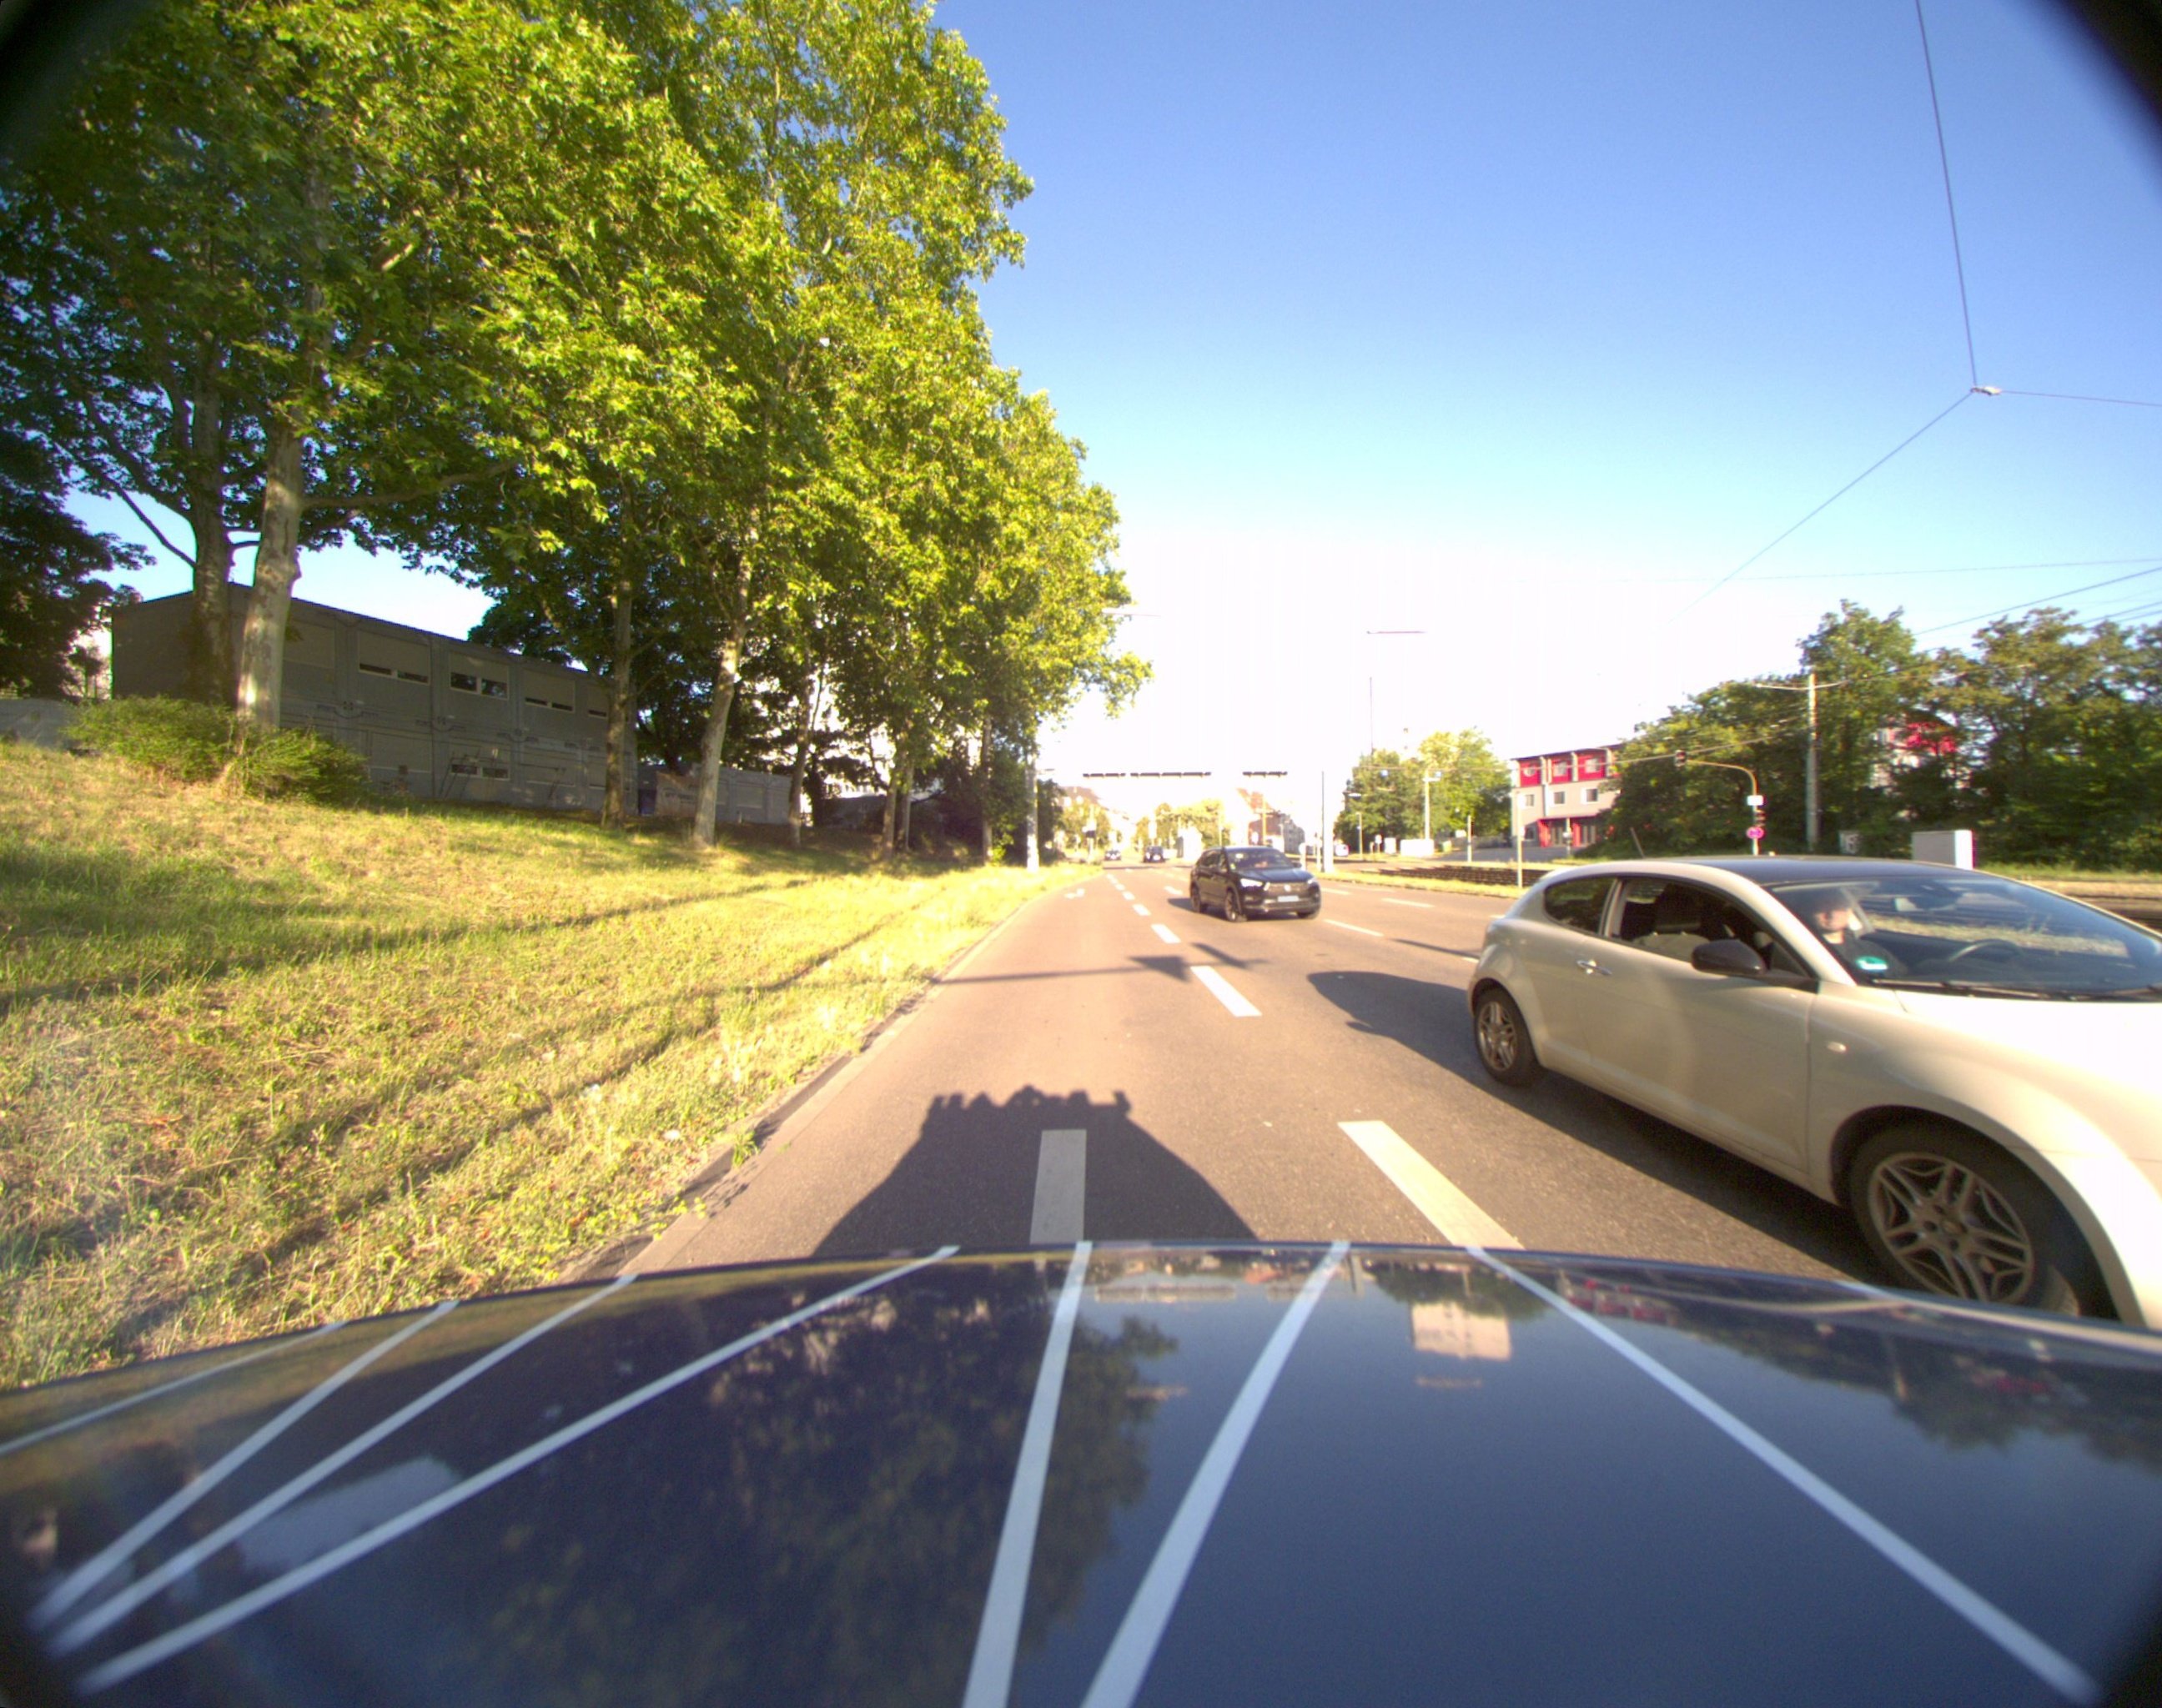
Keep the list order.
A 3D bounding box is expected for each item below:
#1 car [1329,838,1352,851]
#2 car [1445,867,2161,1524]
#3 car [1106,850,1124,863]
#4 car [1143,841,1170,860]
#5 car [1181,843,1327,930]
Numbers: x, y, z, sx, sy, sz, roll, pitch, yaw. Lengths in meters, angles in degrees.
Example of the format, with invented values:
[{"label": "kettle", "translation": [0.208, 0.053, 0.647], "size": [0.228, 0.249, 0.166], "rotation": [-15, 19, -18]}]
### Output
[{"label": "car", "translation": [37.078, -1.373, 108.768], "size": [1.938, 1.777, 4.260], "rotation": [-1, 0, 3]}, {"label": "car", "translation": [3.433, 0.845, 3.312], "size": [1.741, 1.496, 4.000], "rotation": [-1, 0, -1]}, {"label": "car", "translation": [3.836, 0.244, 85.548], "size": [1.741, 1.429, 3.999], "rotation": [-2, 0, -1]}, {"label": "car", "translation": [7.071, -0.363, 71.382], "size": [1.906, 1.652, 4.275], "rotation": [-2, 0, -2]}, {"label": "car", "translation": [3.789, 0.645, 17.537], "size": [1.819, 1.670, 4.620], "rotation": [-2, 0, -6]}]
